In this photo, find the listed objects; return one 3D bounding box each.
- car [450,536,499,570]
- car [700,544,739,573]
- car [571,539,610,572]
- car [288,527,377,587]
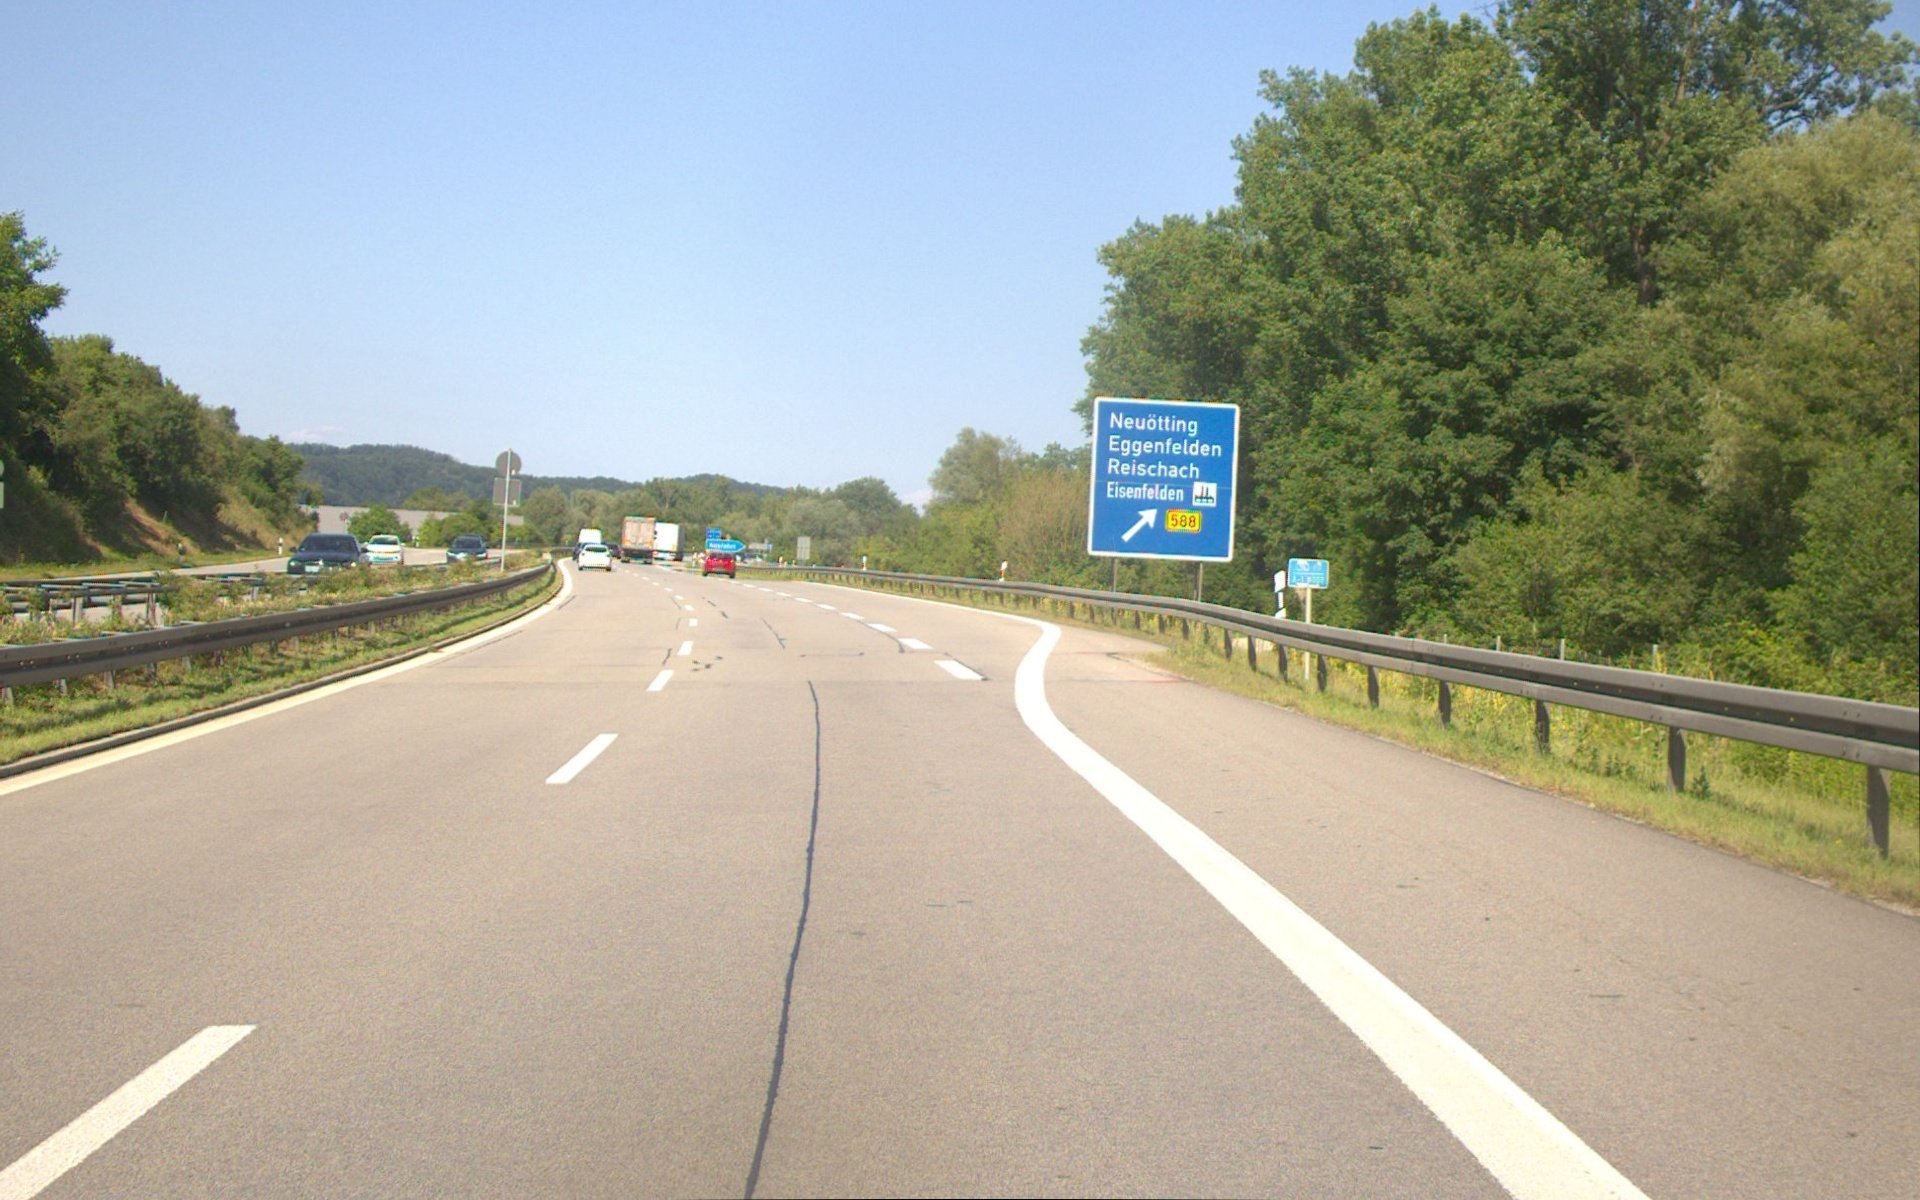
[{"bbox_3d":[-22.584,-2.180,160.053,1.993,1.540,4.677,0,1,-5],"label":"car"},{"bbox_3d":[-13.637,-2.338,194.901,1.784,1.426,4.000,6,0,1],"label":"car"},{"bbox_3d":[-20.312,-2.444,188.944,2.061,1.619,4.000,2,-2,-7],"label":"car"},{"bbox_3d":[-16.155,-1.082,88.733,1.644,1.450,4.907,1,0,-3],"label":"car"}]
